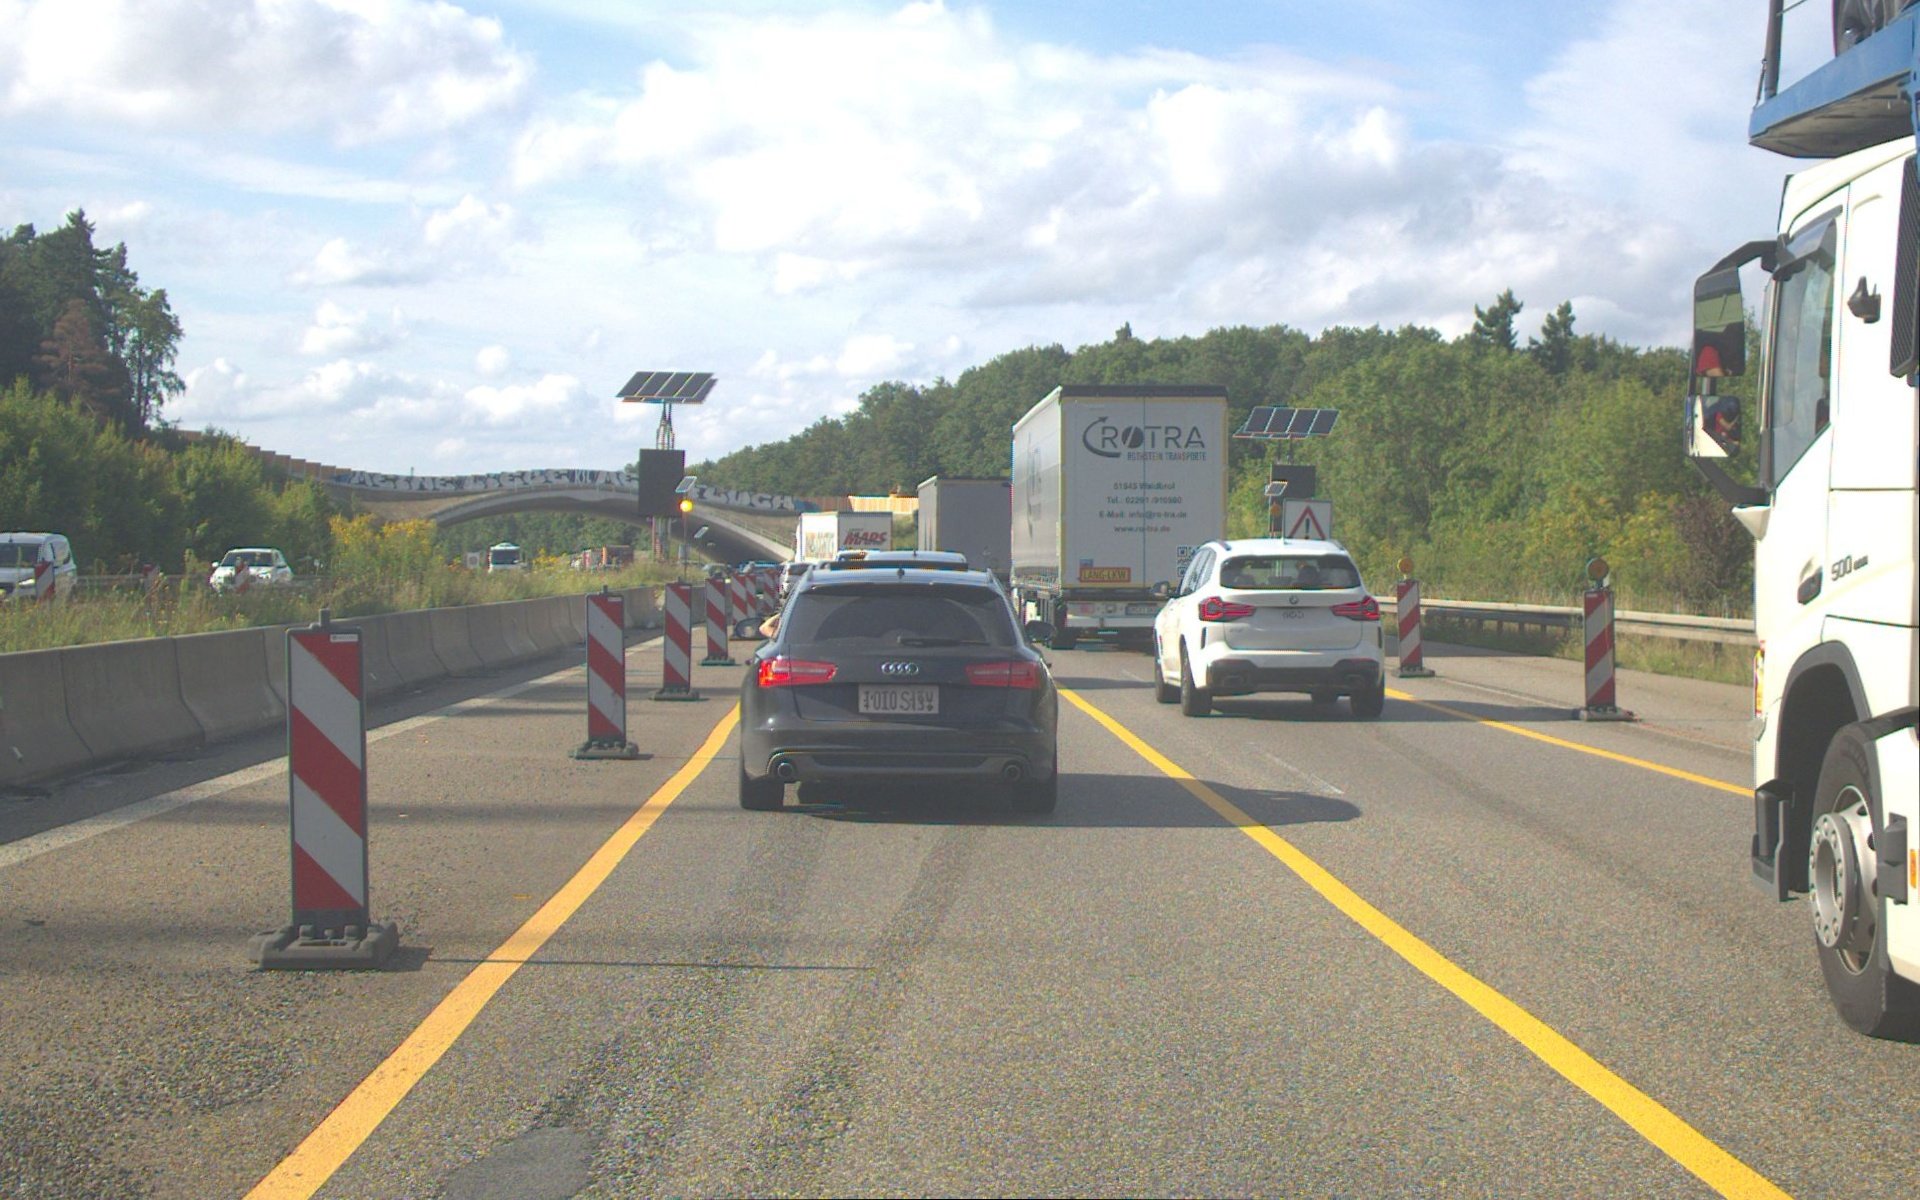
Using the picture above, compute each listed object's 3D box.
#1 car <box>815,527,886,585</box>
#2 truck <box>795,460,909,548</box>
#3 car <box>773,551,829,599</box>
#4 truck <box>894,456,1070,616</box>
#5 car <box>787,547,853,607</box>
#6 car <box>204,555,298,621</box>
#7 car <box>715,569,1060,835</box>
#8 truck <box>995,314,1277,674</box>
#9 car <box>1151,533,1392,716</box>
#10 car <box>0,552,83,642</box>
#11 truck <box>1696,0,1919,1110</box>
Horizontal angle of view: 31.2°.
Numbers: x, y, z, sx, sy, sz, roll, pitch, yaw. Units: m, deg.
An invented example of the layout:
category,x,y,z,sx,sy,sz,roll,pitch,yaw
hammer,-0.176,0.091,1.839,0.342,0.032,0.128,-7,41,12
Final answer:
category,x,y,z,sx,sy,sz,roll,pitch,yaw
car,-3.214,-1.290,100.504,1.890,1.638,4.018,1,0,-4
truck,-5.213,-4.494,163.506,3.653,3.915,11.070,1,0,-11
car,-6.876,-1.081,148.447,1.993,2.007,4.001,1,0,-8
truck,0.542,-1.907,105.548,4.318,4.584,11.126,1,0,-5
car,-4.843,-0.784,118.727,1.993,2.007,4.001,1,0,-6
car,-19.994,-0.347,97.089,1.778,1.780,4.365,1,0,-1
car,-0.429,0.549,21.040,1.890,1.441,4.000,1,0,-1
truck,2.722,-1.658,59.632,3.677,5.335,16.202,1,0,-1
car,2.944,0.207,33.286,1.890,1.638,4.018,1,0,-1
car,-19.508,-0.087,70.876,1.778,1.780,4.365,1,0,-1
truck,4.502,-0.685,7.864,3.761,4.182,7.951,1,0,-1
